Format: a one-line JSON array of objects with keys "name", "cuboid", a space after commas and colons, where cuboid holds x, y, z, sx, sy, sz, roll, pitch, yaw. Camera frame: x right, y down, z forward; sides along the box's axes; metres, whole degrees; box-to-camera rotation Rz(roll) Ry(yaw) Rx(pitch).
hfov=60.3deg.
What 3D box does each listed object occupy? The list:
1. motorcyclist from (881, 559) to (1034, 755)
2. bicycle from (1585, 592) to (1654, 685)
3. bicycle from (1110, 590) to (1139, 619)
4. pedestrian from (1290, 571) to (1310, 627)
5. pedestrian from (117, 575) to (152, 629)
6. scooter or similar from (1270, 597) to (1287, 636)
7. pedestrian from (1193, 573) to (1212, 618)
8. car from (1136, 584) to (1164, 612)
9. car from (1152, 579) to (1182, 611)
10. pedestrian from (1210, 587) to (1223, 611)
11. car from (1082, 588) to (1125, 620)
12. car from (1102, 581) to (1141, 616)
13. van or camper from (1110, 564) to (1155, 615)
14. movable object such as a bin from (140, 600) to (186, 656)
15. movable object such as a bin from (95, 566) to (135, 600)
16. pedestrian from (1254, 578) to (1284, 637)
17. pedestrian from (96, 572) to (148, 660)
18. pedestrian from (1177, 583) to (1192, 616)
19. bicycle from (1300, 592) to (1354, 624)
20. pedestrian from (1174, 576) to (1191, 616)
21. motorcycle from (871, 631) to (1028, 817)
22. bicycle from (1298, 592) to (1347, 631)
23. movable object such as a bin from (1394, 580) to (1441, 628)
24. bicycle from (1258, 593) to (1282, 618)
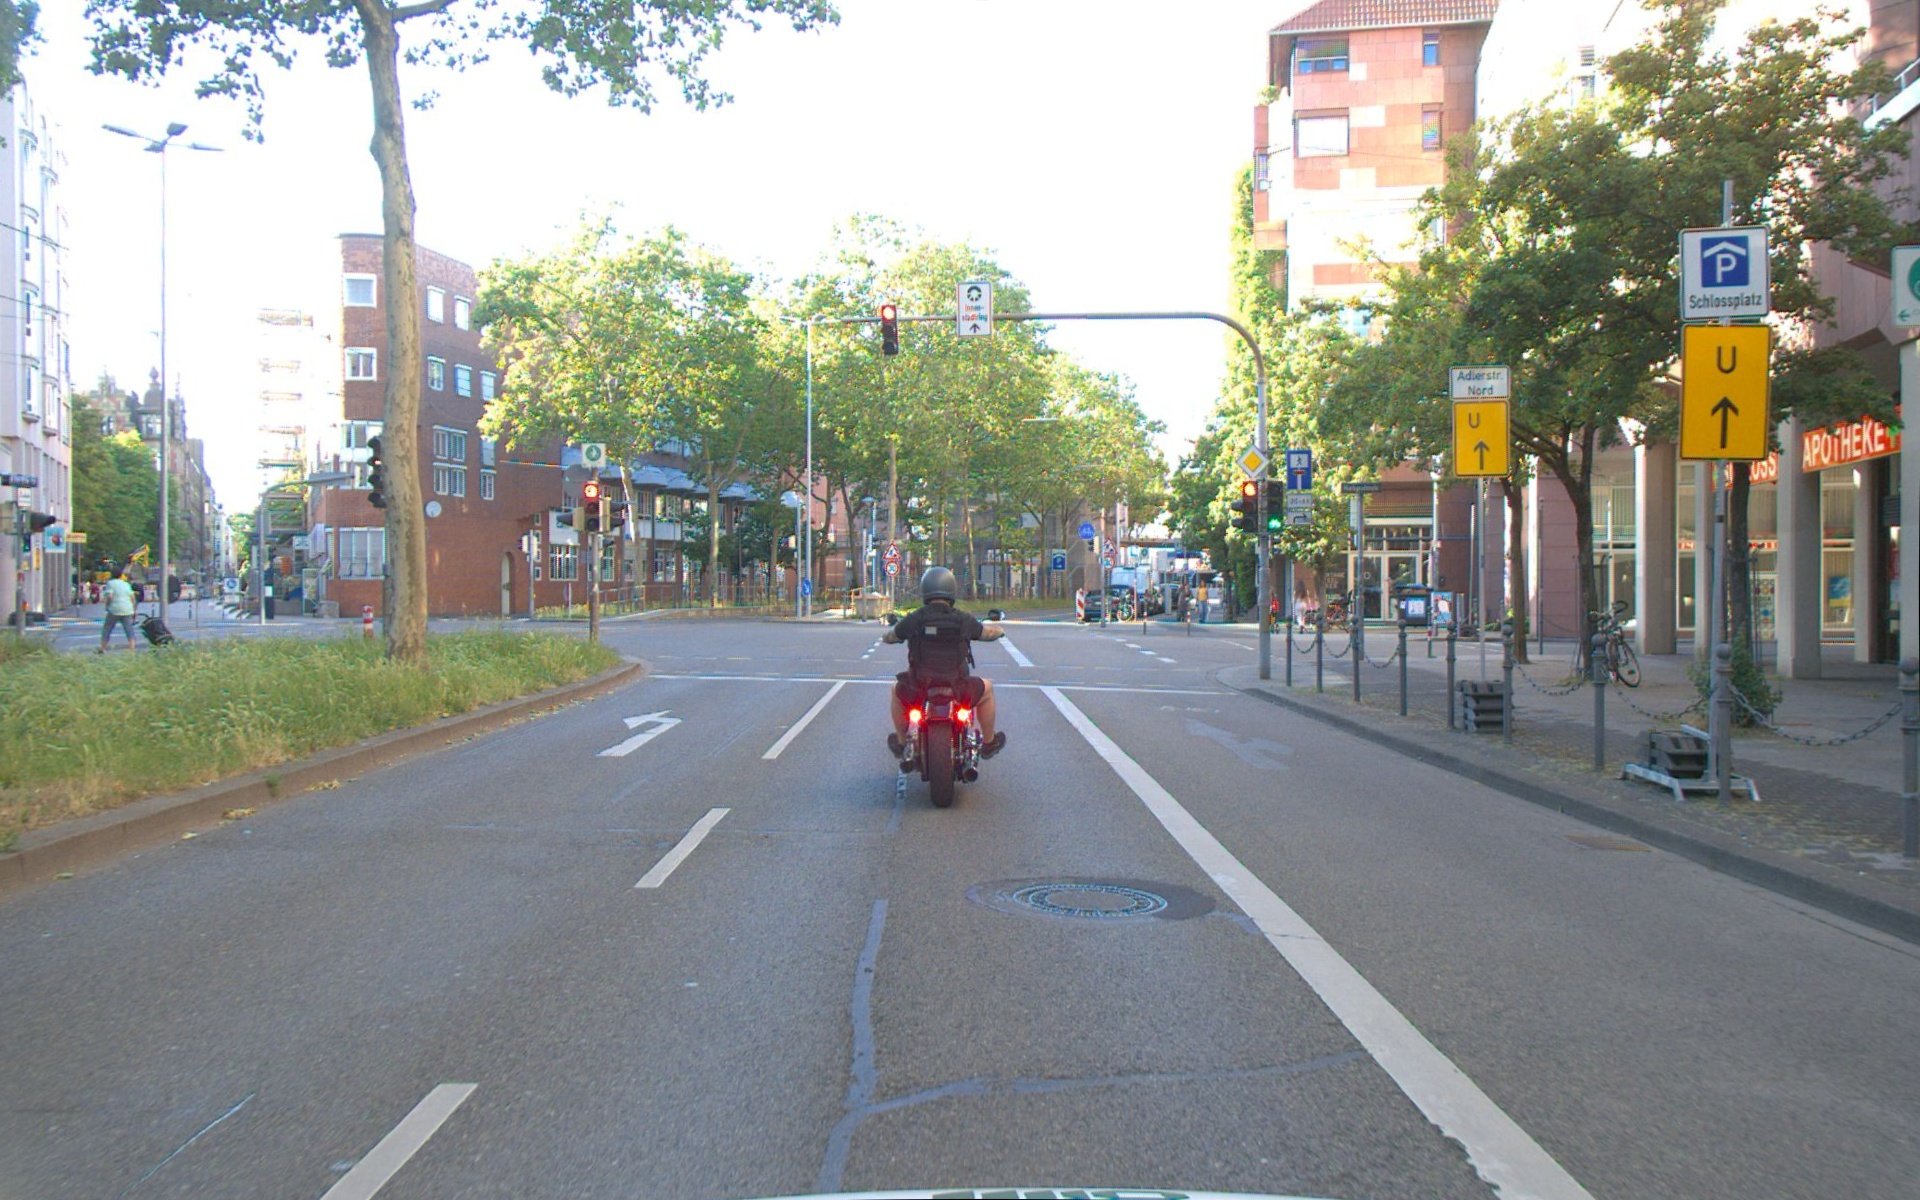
[{"name": "motorcyclist", "cuboid": [-0.013, 0.380, 11.591, 0.991, 1.285, 0.774, 2, 1, 1]}, {"name": "bicycle", "cuboid": [9.362, 0.521, 23.533, 0.608, 1.247, 1.928, 0, 1, 12]}, {"name": "bicycle", "cuboid": [6.341, 0.160, 63.758, 0.723, 1.071, 1.748, 0, 1, -9]}, {"name": "pedestrian", "cuboid": [10.446, -0.023, 50.784, 0.450, 1.702, 0.679, 0, 0, -3]}, {"name": "pedestrian", "cuboid": [-29.689, 0.072, 59.482, 0.837, 1.902, 0.752, 0, 0, 4]}, {"name": "scooter or similar", "cuboid": [9.841, 0.514, 51.096, 0.386, 1.178, 1.250, 0, 0, 6]}, {"name": "pedestrian", "cuboid": [9.688, -0.174, 66.046, 0.685, 1.764, 0.768, 0, 0, 4]}, {"name": "car", "cuboid": [11.484, -0.147, 100.034, 1.585, 1.638, 3.778, 0, 1, 8]}, {"name": "car", "cuboid": [13.940, -0.346, 111.269, 1.796, 2.049, 4.392, 0, 0, 9]}, {"name": "pedestrian", "cuboid": [16.136, -0.042, 104.004, 0.749, 1.470, 0.781, 1, 0, 9]}, {"name": "car", "cuboid": [6.156, 0.151, 70.711, 1.585, 1.325, 4.315, 0, 0, 8]}, {"name": "car", "cuboid": [7.911, -0.072, 80.608, 1.585, 1.647, 4.489, 0, 0, 9]}, {"name": "van or camper", "cuboid": [9.126, -0.566, 87.157, 2.005, 2.585, 5.778, 0, 0, 10]}, {"name": "movable object such as a bin", "cuboid": [-14.079, 0.490, 29.221, 0.499, 0.970, 0.540, 0, 0, 13]}, {"name": "movable object such as a bin", "cuboid": [-59.182, -1.195, 115.869, 1.894, 2.351, 2.778, 0, 1, -14]}, {"name": "pedestrian", "cuboid": [9.495, 0.222, 50.798, 0.770, 1.794, 0.609, 0, 0, -3]}, {"name": "pedestrian", "cuboid": [-14.727, 0.271, 29.070, 0.605, 1.530, 0.535, 0, 0, 13]}, {"name": "pedestrian", "cuboid": [11.494, -0.013, 84.651, 0.746, 1.673, 0.547, 0, 0, 3]}, {"name": "bicycle", "cuboid": [12.837, 0.270, 57.835, 1.713, 1.071, 0.738, 0, 0, 28]}, {"name": "pedestrian", "cuboid": [8.901, -0.168, 66.161, 0.630, 1.606, 0.748, 0, 0, 4]}, {"name": "motorcycle", "cuboid": [-0.050, 0.805, 11.510, 0.997, 1.116, 2.008, 0, 1, 1]}, {"name": "bicycle", "cuboid": [11.983, 0.376, 54.750, 1.534, 1.248, 0.578, 0, 0, 6]}, {"name": "movable object such as a bin", "cuboid": [14.396, 0.126, 52.108, 1.380, 1.508, 0.872, 0, 0, 12]}, {"name": "bicycle", "cuboid": [11.813, 0.201, 63.003, 0.721, 0.956, 1.753, 0, 1, 4]}]
